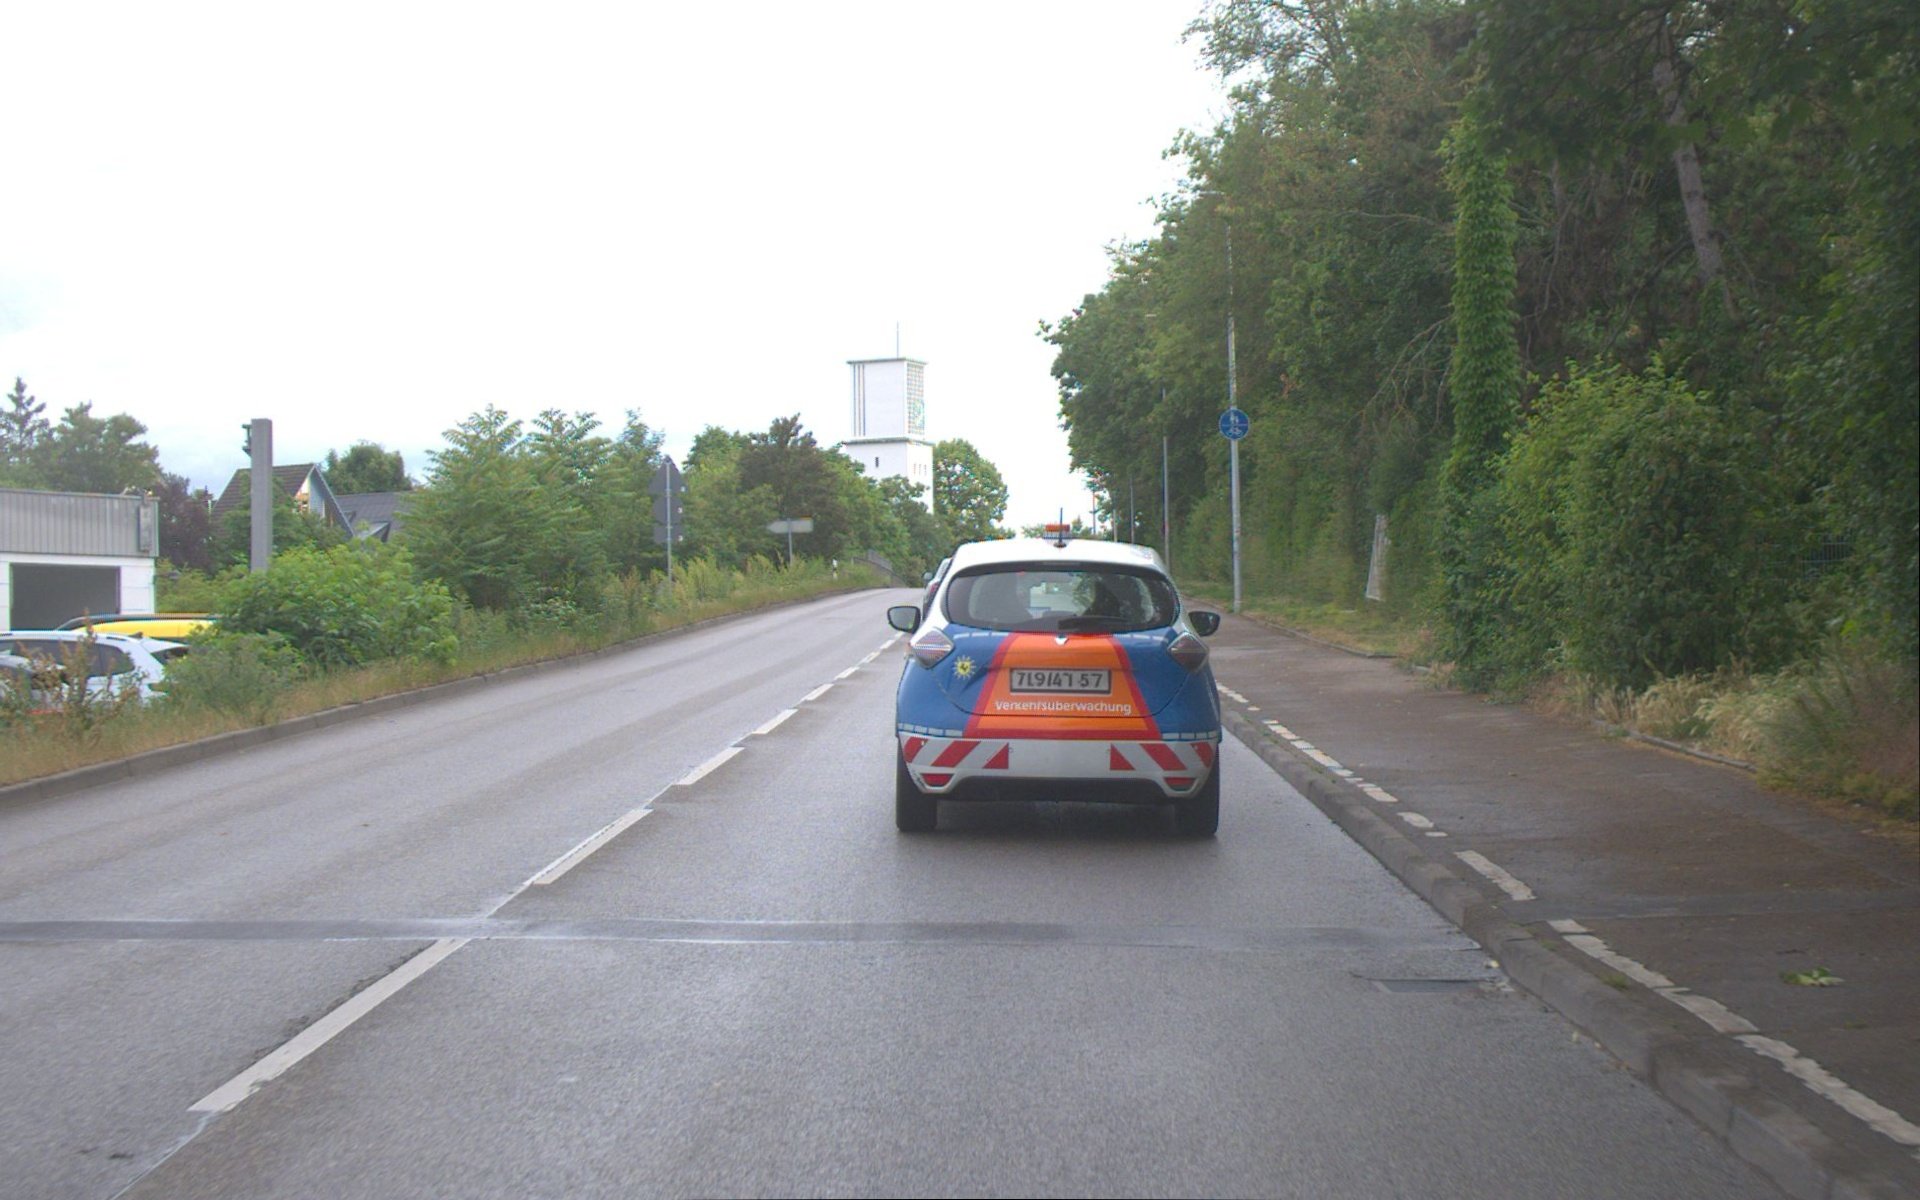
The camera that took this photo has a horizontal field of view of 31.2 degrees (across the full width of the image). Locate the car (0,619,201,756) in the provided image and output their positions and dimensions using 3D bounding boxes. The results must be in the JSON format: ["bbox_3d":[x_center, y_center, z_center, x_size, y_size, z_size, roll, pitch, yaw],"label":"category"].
[{"bbox_3d":[-10.486,0.949,37.015,4.225,1.364,1.875,-1,1,-2],"label":"car"}]

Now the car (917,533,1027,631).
[{"bbox_3d":[0.230,-0.306,59.630,1.802,1.584,3.563,-2,0,1],"label":"car"}]

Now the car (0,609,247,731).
[{"bbox_3d":[-10.457,0.814,39.744,4.062,1.286,1.805,-1,1,-2],"label":"car"}]

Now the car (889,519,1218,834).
[{"bbox_3d":[0.504,0.399,19.155,1.657,1.587,3.568,0,0,1],"label":"car"}]

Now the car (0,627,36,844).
[{"bbox_3d":[-10.179,1.191,29.058,4.225,1.791,1.875,-1,1,-2],"label":"car"}]

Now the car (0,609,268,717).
[{"bbox_3d":[-10.751,0.777,42.448,4.062,1.207,1.805,-1,1,-2],"label":"car"}]
